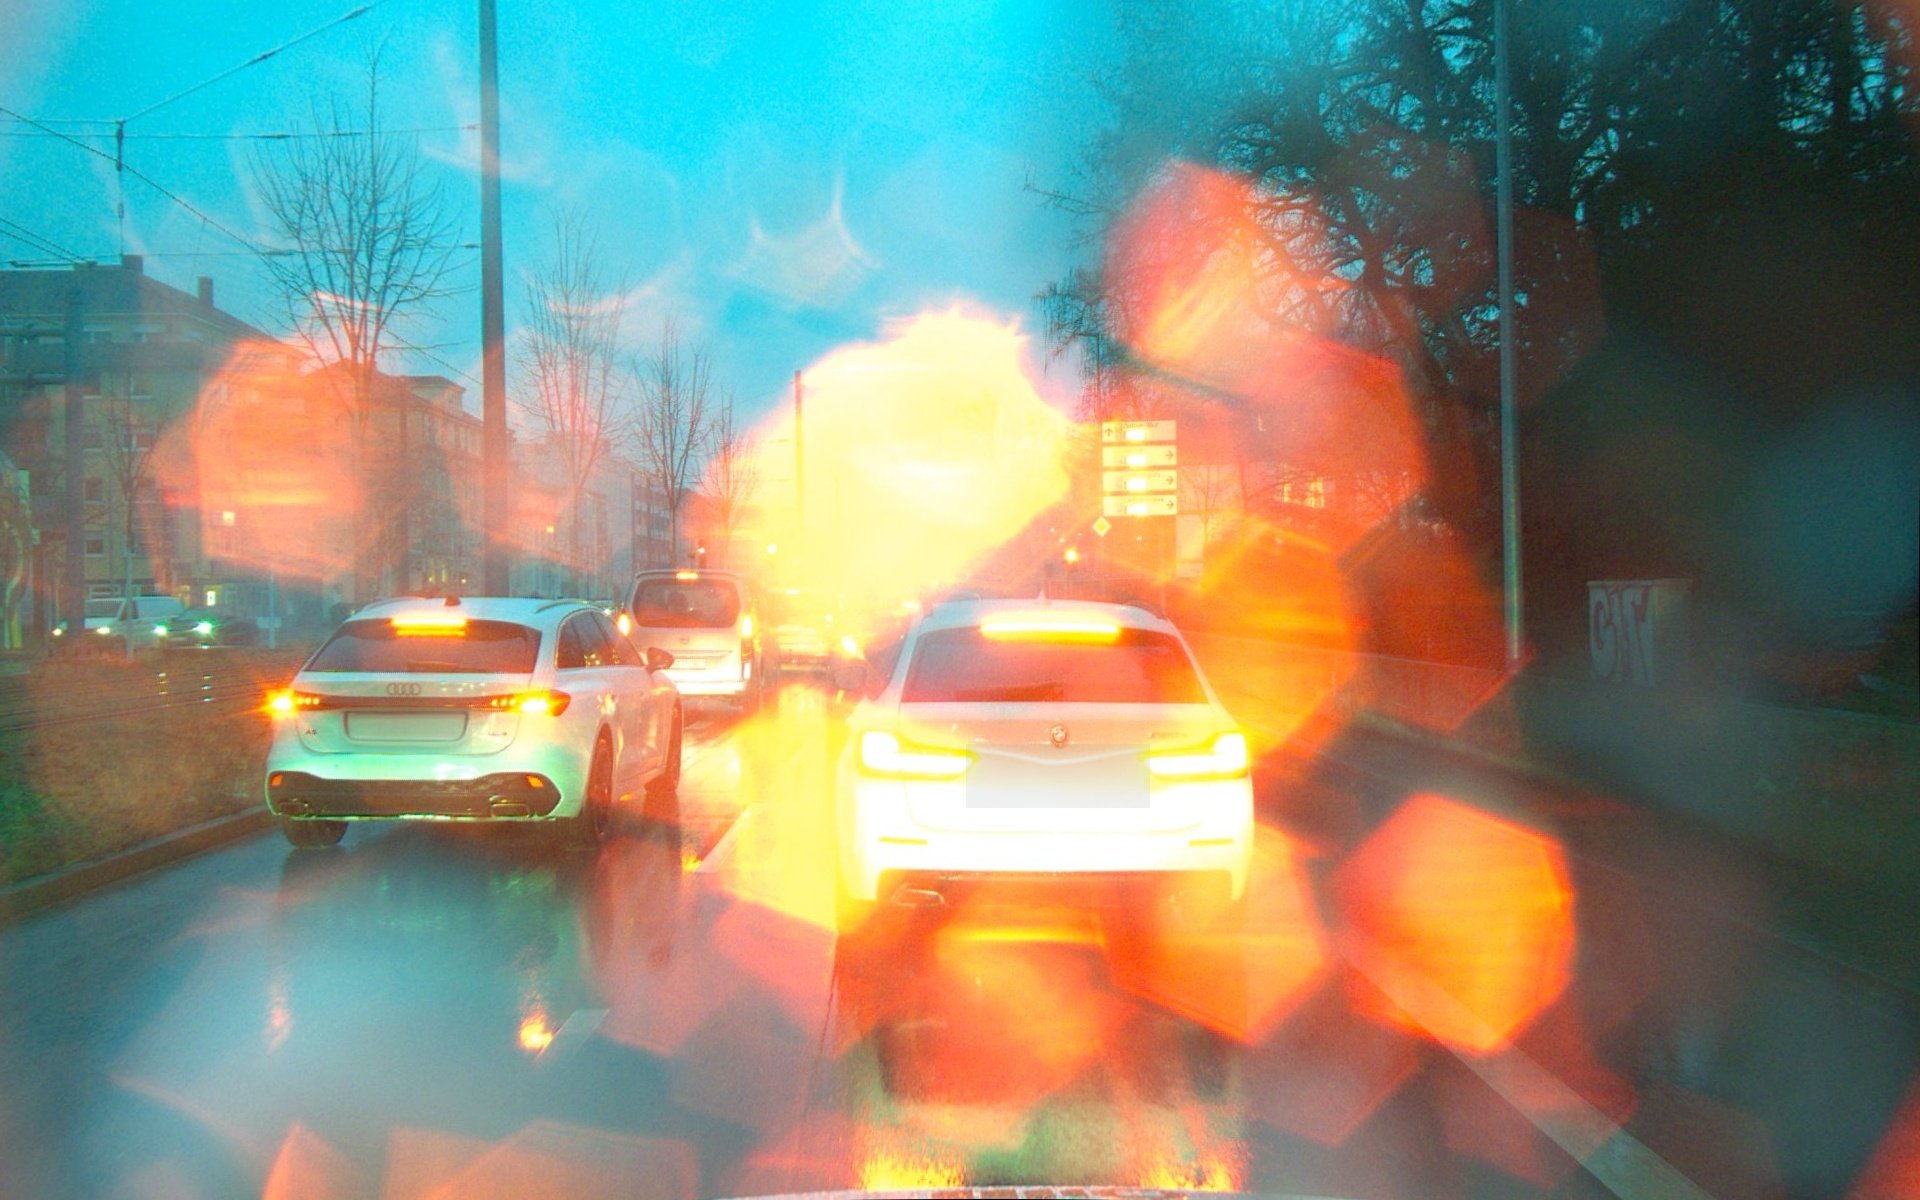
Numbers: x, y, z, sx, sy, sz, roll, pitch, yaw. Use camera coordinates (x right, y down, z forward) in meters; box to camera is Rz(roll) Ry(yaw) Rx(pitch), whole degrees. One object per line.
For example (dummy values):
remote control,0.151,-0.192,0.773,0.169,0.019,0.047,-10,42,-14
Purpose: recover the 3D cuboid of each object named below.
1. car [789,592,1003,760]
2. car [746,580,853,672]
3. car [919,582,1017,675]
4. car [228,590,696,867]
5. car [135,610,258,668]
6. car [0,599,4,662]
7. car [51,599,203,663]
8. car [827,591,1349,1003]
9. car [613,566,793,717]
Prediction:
car,-0.598,0.661,16.775,1.896,1.483,4.162,0,0,-1
car,-3.085,0.468,32.477,1.770,1.674,3.999,0,0,-1
car,0.123,0.500,31.933,1.770,1.674,3.999,0,0,-1
car,-2.946,0.672,10.881,1.809,1.430,4.612,0,0,-2
car,-24.124,1.199,52.437,1.857,1.662,4.579,-1,0,-1
car,-32.396,1.013,50.567,1.966,1.945,5.129,-1,0,43
car,-27.481,0.979,54.786,1.951,1.945,5.167,-1,0,7
car,0.451,0.722,8.267,1.959,1.534,4.162,0,0,-1
car,-3.265,0.496,21.816,1.757,1.766,4.536,0,0,-2
